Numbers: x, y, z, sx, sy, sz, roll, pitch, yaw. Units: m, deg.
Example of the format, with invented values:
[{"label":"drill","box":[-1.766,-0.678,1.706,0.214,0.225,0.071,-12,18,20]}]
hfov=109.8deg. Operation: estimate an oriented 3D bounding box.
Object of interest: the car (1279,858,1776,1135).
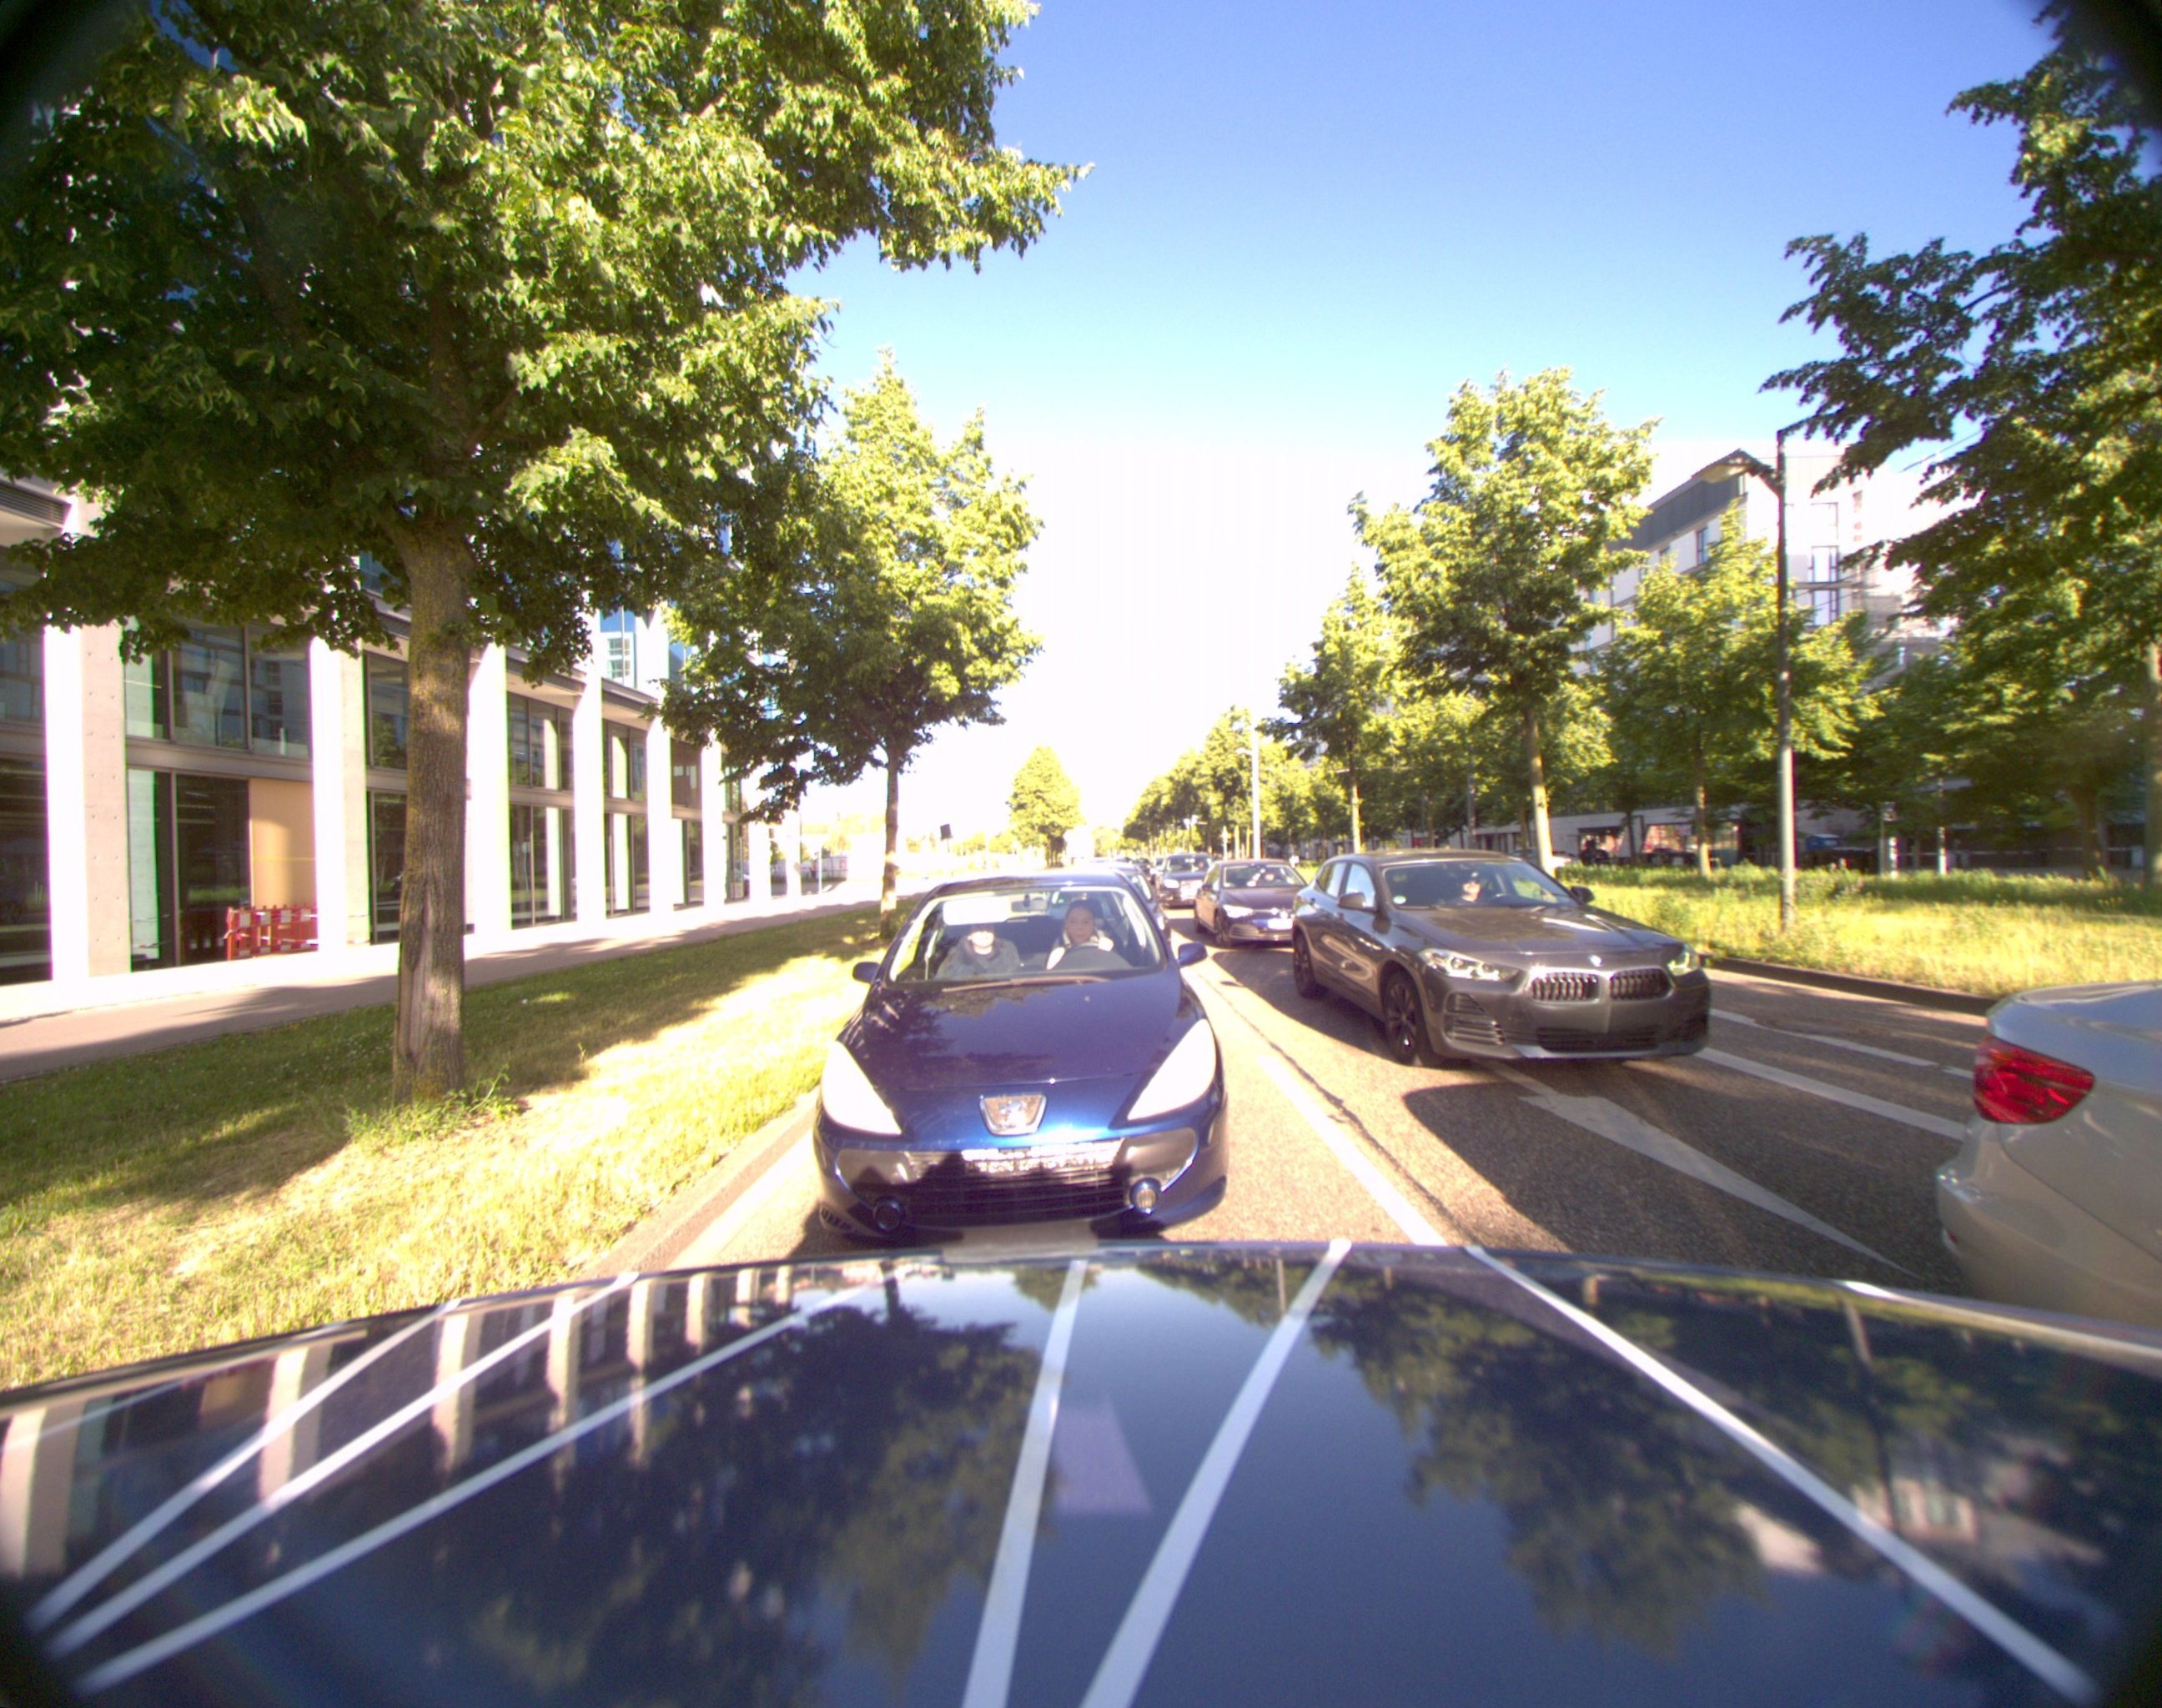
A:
[{"label":"car","box":[3.087,0.832,6.370,1.812,1.513,4.029,-1,0,1]}]

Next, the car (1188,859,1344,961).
[{"label":"car","box":[3.054,0.852,13.440,1.812,1.445,4.254,-1,0,2]}]

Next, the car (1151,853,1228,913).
[{"label":"car","box":[3.149,0.799,22.746,1.812,1.581,4.165,-1,0,2]}]

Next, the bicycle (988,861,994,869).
[{"label":"bicycle","box":[-9.473,1.170,80.056,0.464,0.813,1.344,-2,1,1]}]

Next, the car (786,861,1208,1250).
[{"label":"car","box":[-0.317,0.846,5.000,1.686,1.513,3.785,-1,0,1]}]

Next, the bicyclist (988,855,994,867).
[{"label":"bicyclist","box":[-9.486,0.747,80.043,0.534,1.210,0.507,-2,1,1]}]

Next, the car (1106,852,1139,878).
[{"label":"car","box":[2.943,0.750,54.666,2.012,1.689,4.791,-1,0,-1]}]

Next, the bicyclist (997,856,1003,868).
[{"label":"bicyclist","box":[-8.993,0.880,84.101,0.534,1.282,0.521,-2,1,1]}]

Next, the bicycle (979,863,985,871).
[{"label":"bicycle","box":[-10.383,1.389,79.961,0.415,0.813,1.320,-2,1,1]}]

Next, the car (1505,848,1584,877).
[{"label":"car","box":[23.777,0.402,39.178,1.666,1.384,4.000,-1,0,1]}]

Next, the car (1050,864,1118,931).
[{"label":"car","box":[0.087,0.952,17.994,1.407,1.326,3.785,-1,0,1]}]

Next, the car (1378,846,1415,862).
[{"label":"car","box":[34.671,0.000,83.573,2.012,1.689,4.791,-1,0,-1]}]

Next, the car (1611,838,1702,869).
[{"label":"car","box":[34.426,-0.039,45.610,1.858,1.674,4.792,-1,0,1]}]

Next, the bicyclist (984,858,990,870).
[{"label":"bicyclist","box":[-10.401,1.118,83.956,0.534,1.282,0.457,-2,1,1]}]

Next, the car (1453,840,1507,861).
[{"label":"car","box":[34.636,-0.272,66.073,2.012,1.689,4.791,-1,0,-3]}]

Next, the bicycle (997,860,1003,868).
[{"label":"bicycle","box":[-8.991,1.095,84.101,0.464,0.813,1.344,-2,1,1]}]

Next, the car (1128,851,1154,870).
[{"label":"car","box":[5.659,0.617,71.931,2.012,1.689,4.791,-1,0,-1]}]

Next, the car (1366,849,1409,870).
[{"label":"car","box":[26.832,0.456,66.696,1.858,1.719,4.792,-1,0,1]}]

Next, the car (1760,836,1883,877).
[{"label":"car","box":[34.238,0.113,35.287,1.858,1.739,4.000,-1,0,1]}]

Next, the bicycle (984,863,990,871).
[{"label":"bicycle","box":[-10.385,1.386,83.955,0.464,0.813,1.344,-2,1,1]}]

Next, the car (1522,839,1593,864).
[{"label":"car","box":[34.838,-0.172,55.734,2.012,1.689,4.791,-1,0,-3]}]

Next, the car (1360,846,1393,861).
[{"label":"car","box":[34.702,-0.051,89.380,2.012,1.689,4.791,-1,0,-1]}]

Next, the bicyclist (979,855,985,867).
[{"label":"bicyclist","box":[-10.429,0.748,79.986,0.448,1.282,0.418,-2,1,1]}]

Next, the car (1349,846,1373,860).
[{"label":"car","box":[34.712,-0.162,94.208,1.601,1.659,3.743,-1,0,1]}]

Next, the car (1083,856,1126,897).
[{"label":"car","box":[0.965,0.920,32.562,1.705,1.591,3.785,-1,0,1]}]

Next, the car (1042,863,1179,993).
[{"label":"car","box":[0.387,0.925,11.396,1.612,1.463,4.395,-1,0,1]}]
